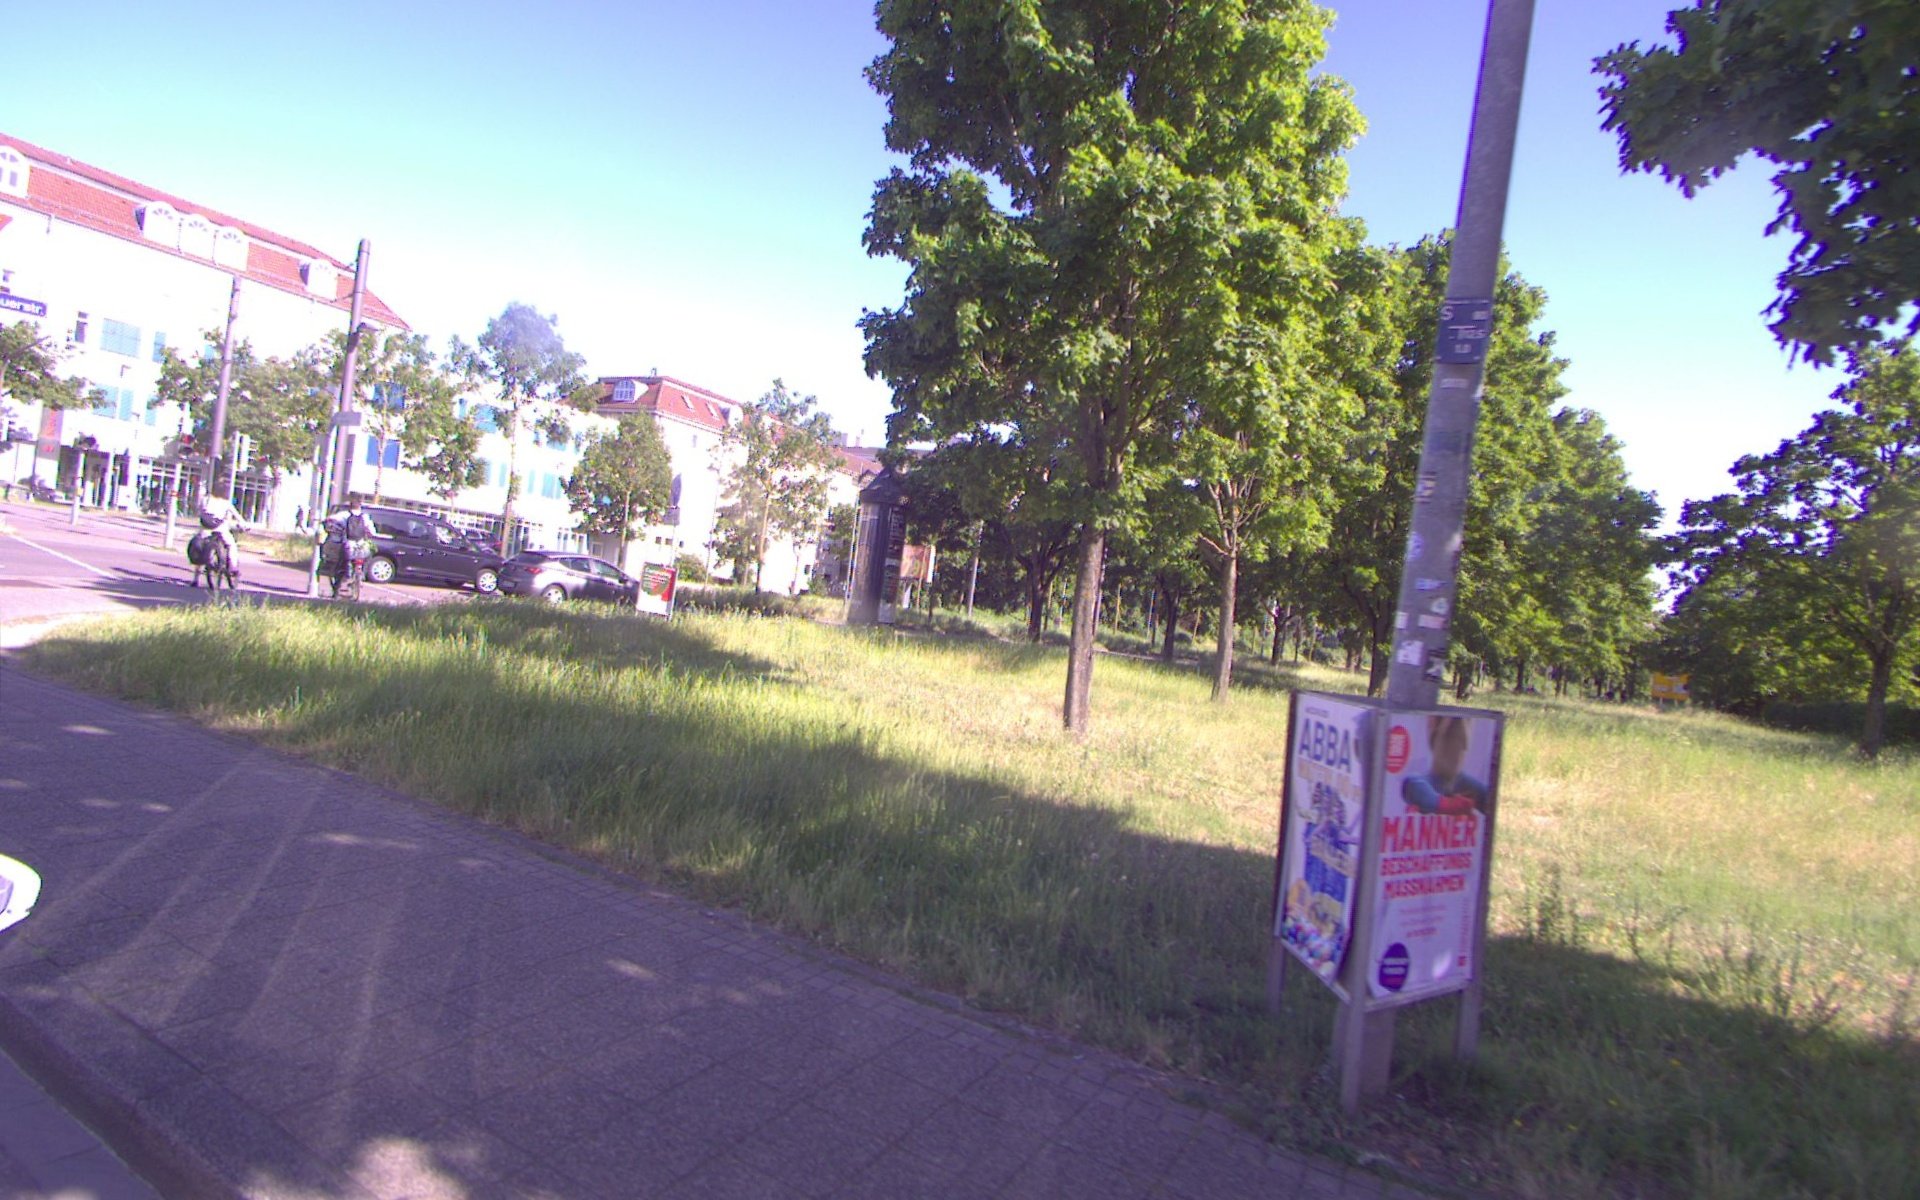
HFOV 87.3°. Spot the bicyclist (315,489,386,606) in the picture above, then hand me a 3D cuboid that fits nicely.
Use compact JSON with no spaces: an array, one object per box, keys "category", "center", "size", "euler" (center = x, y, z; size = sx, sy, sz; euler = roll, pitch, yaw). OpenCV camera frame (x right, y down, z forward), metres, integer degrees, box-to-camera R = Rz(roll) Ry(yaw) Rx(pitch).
[{"category":"bicyclist","center":[-11.107,-0.954,18.369],"size":[0.782,1.984,1.005],"euler":[7,1,-22]}]

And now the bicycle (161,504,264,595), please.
[{"category":"bicycle","center":[-12.626,-0.847,17.071],"size":[0.782,1.364,2.068],"euler":[7,1,-22]}]

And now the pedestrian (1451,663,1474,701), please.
[{"category":"pedestrian","center":[24.697,4.047,49.454],"size":[0.727,1.748,0.887],"euler":[8,1,34]}]

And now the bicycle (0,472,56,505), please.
[{"category":"bicycle","center":[-43.157,-5.143,46.496],"size":[0.552,1.197,1.868],"euler":[8,0,26]}]

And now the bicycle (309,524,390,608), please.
[{"category":"bicycle","center":[-11.208,-0.643,18.547],"size":[0.782,1.364,2.251],"euler":[7,0,-22]}]

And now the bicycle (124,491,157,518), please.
[{"category":"bicycle","center":[-41.755,-4.857,51.258],"size":[1.837,1.197,0.561],"euler":[8,1,29]}]

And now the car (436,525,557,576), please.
[{"category":"car","center":[-20.982,-2.206,45.715],"size":[1.971,1.629,4.498],"euler":[8,0,39]}]

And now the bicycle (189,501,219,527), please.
[{"category":"bicycle","center":[-40.295,-4.576,53.610],"size":[1.839,1.197,0.561],"euler":[8,1,32]}]

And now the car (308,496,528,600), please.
[{"category":"car","center":[-13.725,-1.265,25.746],"size":[1.736,1.820,4.491],"euler":[7,-3,34]}]

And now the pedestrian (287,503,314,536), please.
[{"category":"pedestrian","center":[-38.009,-4.640,57.960],"size":[0.643,1.745,0.991],"euler":[8,1,29]}]

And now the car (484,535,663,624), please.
[{"category":"car","center":[-9.746,-0.474,25.634],"size":[1.666,1.595,3.867],"euler":[7,-3,33]}]

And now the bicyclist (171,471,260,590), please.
[{"category":"bicyclist","center":[-12.546,-1.160,16.998],"size":[0.782,1.847,1.129],"euler":[7,1,-22]}]

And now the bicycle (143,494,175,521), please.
[{"category":"bicycle","center":[-41.573,-4.792,52.192],"size":[1.837,1.197,0.561],"euler":[8,1,29]}]
